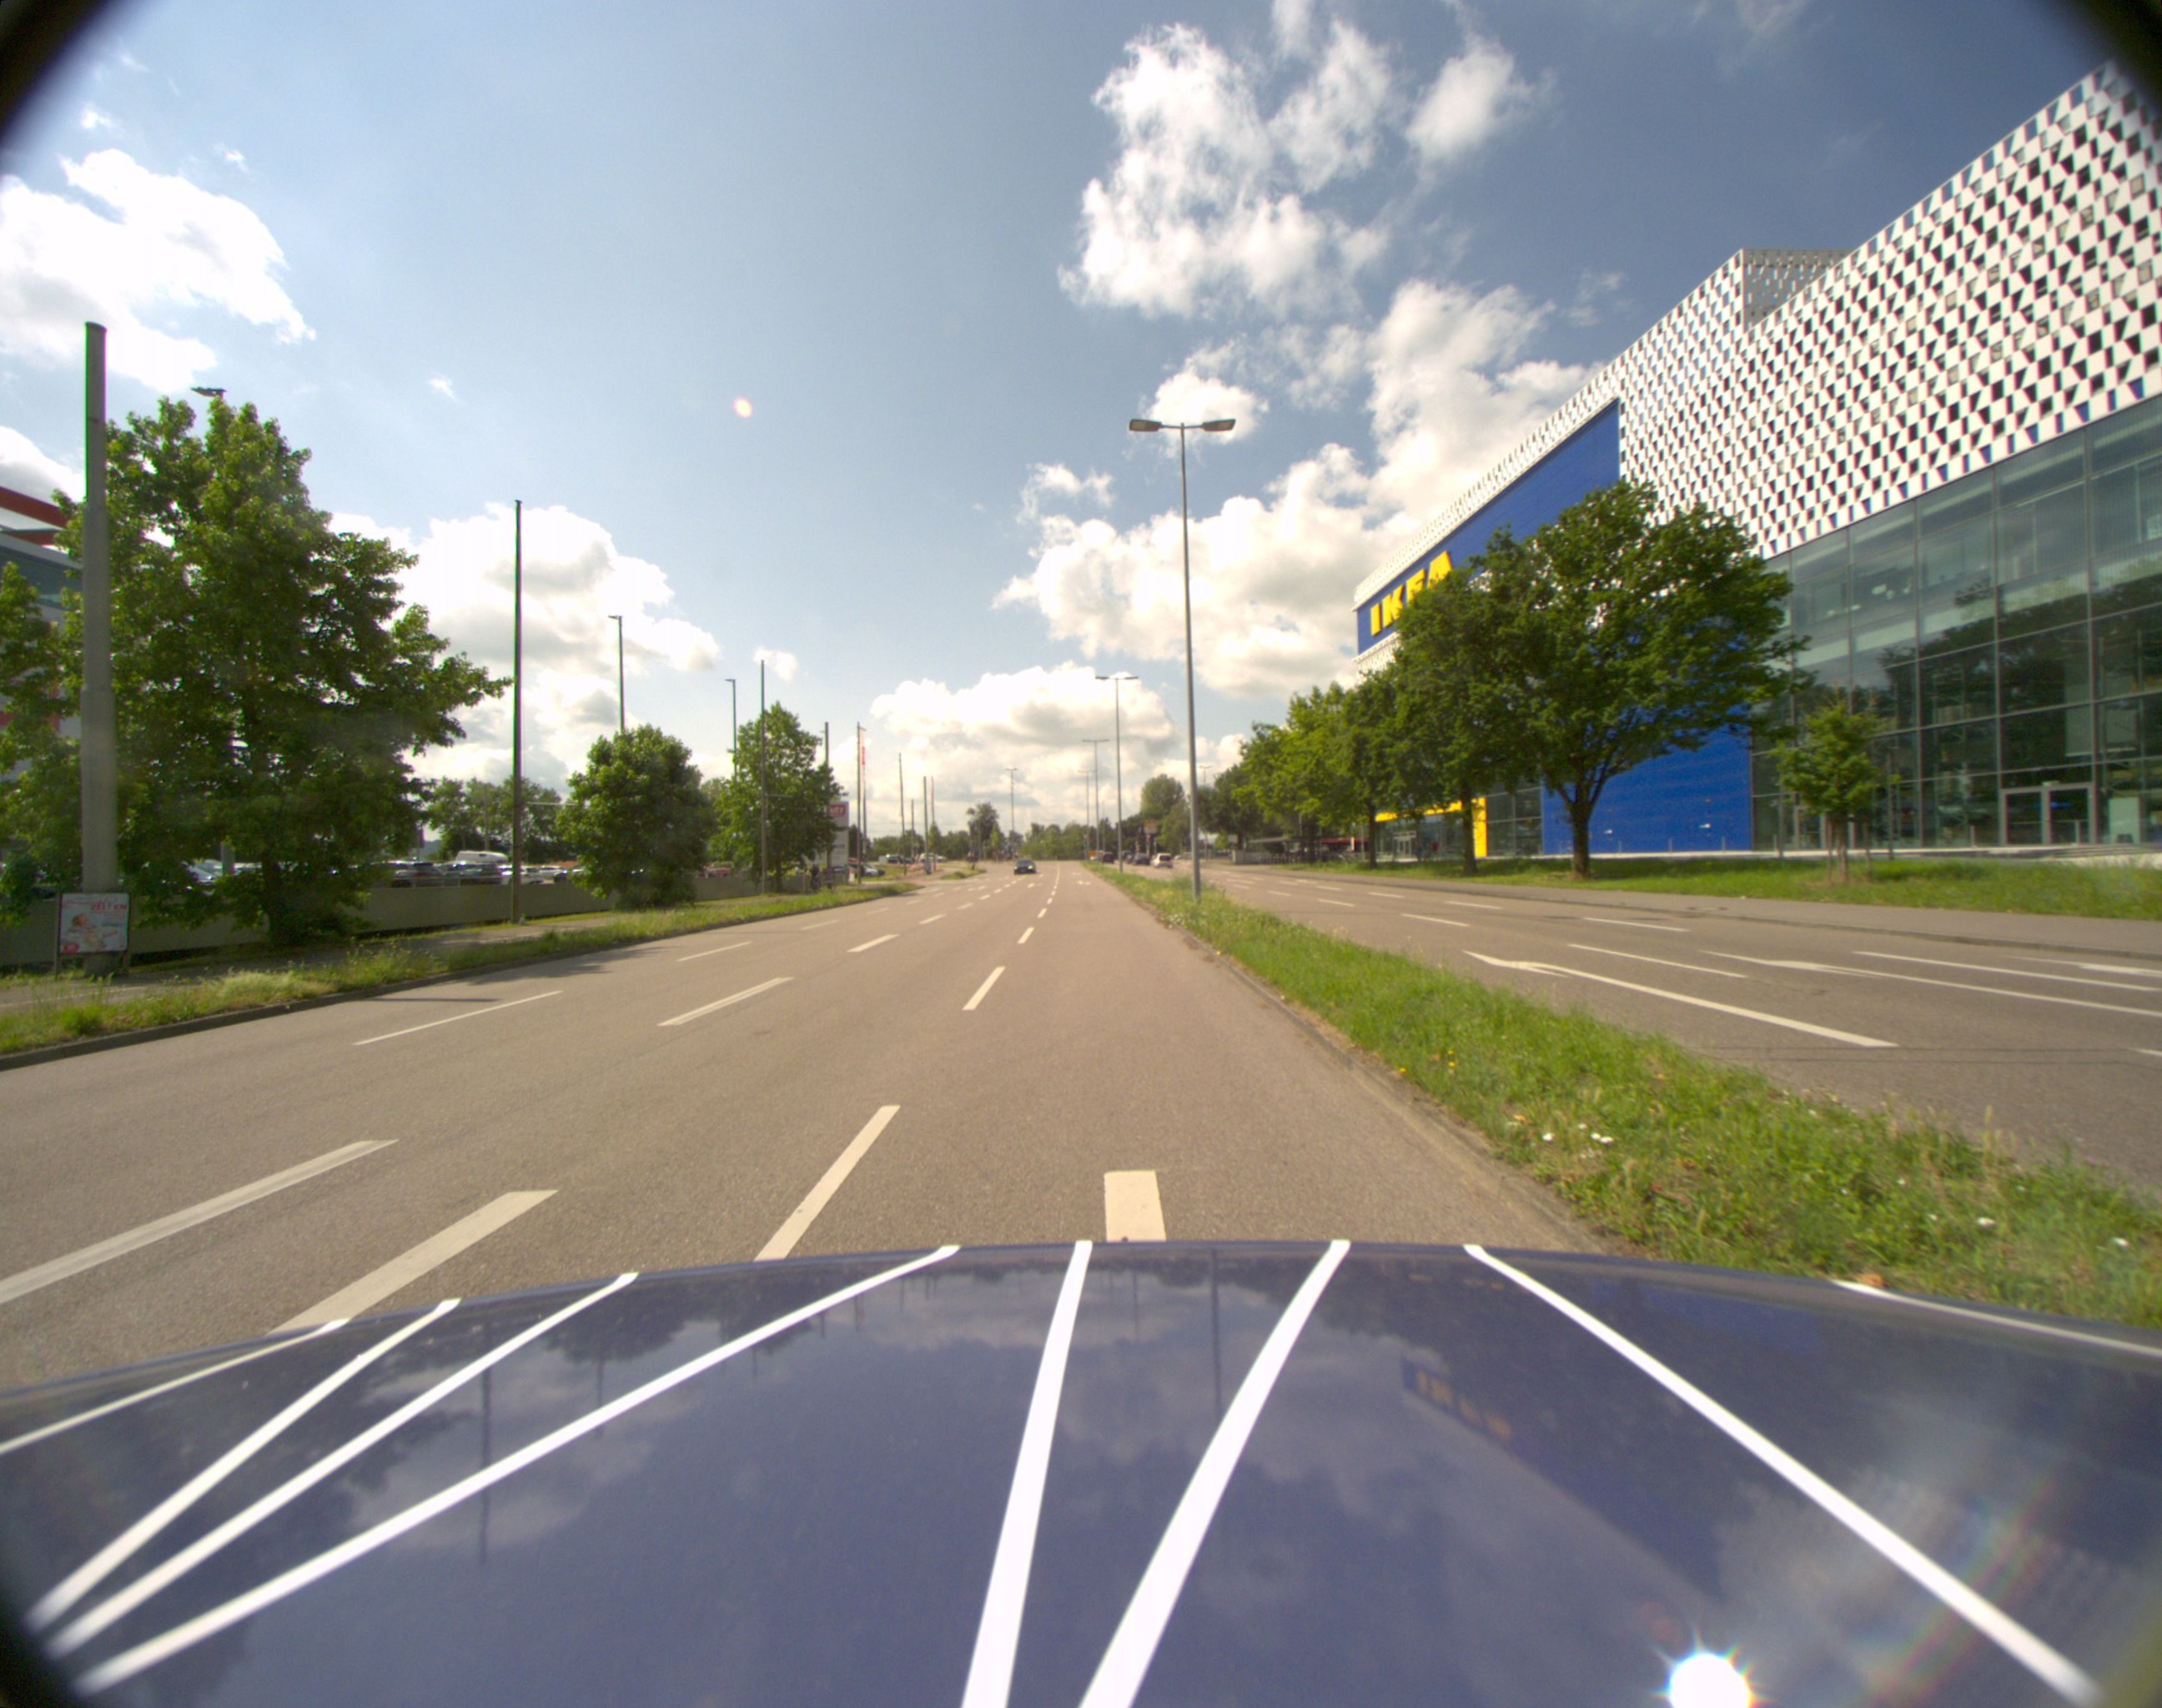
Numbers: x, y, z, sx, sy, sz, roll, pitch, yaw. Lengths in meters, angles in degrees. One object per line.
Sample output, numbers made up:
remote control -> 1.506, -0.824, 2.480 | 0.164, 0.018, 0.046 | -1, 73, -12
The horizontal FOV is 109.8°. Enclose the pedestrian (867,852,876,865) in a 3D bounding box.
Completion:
pedestrian -> -28.915, 0.589, 104.650 | 0.820, 1.792, 0.761 | -1, 1, 26

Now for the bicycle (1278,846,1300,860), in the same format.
bicycle -> 19.745, -0.061, 72.176 | 1.930, 1.265, 0.629 | -2, 0, -1

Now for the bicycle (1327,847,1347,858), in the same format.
bicycle -> 27.546, -0.192, 81.729 | 1.935, 1.083, 0.520 | -2, 0, -5

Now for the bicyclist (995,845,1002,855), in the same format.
bicyclist -> -12.351, -0.626, 113.973 | 0.698, 1.526, 0.619 | -2, 0, -38

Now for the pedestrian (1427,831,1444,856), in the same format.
pedestrian -> 26.229, -0.759, 56.276 | 0.755, 1.812, 0.887 | -2, 1, -1

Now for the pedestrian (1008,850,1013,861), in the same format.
pedestrian -> -10.338, 0.238, 112.123 | 0.585, 1.515, 0.469 | -2, 1, 8

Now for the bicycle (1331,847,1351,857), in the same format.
bicycle -> 27.598, -0.194, 80.520 | 1.940, 1.064, 0.528 | -2, 1, -5

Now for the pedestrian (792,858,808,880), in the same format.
pedestrian -> -23.171, 1.261, 62.627 | 0.782, 1.772, 0.874 | -2, 0, 45

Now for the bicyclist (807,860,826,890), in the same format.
bicyclist -> -12.634, 0.992, 36.269 | 0.617, 1.404, 0.715 | -1, 0, 0

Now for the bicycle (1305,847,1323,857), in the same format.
bicycle -> 26.817, -0.242, 87.531 | 1.940, 1.064, 0.528 | -2, 1, -7

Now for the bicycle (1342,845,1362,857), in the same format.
bicycle -> 28.167, -0.302, 79.032 | 1.940, 1.202, 0.528 | -2, 1, -5

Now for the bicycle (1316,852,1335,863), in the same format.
bicycle -> 27.161, 0.385, 84.440 | 1.940, 1.064, 0.528 | -2, 1, -5

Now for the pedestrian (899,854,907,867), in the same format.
pedestrian -> -24.369, 0.867, 104.280 | 0.865, 1.754, 0.863 | 2, -3, -5

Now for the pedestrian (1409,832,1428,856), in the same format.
pedestrian -> 24.871, -0.732, 55.934 | 0.952, 1.693, 0.887 | -2, 1, -1

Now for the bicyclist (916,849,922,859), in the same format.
bicyclist -> -22.852, -0.016, 107.138 | 0.688, 1.318, 0.592 | -2, 0, -18

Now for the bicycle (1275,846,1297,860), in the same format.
bicycle -> 19.784, -0.052, 73.249 | 1.930, 1.265, 0.629 | -2, 0, -1

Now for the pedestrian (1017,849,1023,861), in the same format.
pedestrian -> -8.946, 0.116, 111.412 | 0.688, 1.718, 0.701 | -1, 2, 10

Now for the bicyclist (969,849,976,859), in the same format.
bicyclist -> -15.976, 0.057, 111.663 | 0.649, 1.466, 0.744 | -2, 0, 42

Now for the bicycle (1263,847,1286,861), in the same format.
bicycle -> 19.578, -0.007, 76.898 | 2.094, 1.265, 0.629 | -2, 0, -1

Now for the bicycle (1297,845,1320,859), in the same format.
bicycle -> 21.937, -0.155, 73.317 | 1.930, 1.265, 0.629 | -2, 0, -1

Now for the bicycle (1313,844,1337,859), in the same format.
bicycle -> 21.973, -0.182, 68.429 | 1.930, 1.265, 0.629 | -2, 0, -1

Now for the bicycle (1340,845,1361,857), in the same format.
bicycle -> 27.776, -0.301, 78.227 | 1.950, 1.236, 0.597 | -2, 1, -5

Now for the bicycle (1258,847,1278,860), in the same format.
bicycle -> 19.505, -0.012, 79.260 | 1.930, 1.265, 0.629 | -2, 0, -1

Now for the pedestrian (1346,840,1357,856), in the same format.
pedestrian -> 29.199, -0.652, 82.081 | 0.898, 1.697, 0.710 | -2, 1, -2

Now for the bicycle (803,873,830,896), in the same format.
bicycle -> -12.627, 1.439, 36.312 | 0.625, 1.061, 1.967 | -1, 0, -1

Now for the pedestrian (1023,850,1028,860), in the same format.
pedestrian -> -8.315, 0.158, 113.401 | 0.556, 1.515, 0.470 | -2, 0, 8

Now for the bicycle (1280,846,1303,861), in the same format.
bicycle -> 19.618, -0.049, 70.781 | 1.930, 1.265, 0.629 | -2, 0, -1

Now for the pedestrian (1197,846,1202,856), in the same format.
pedestrian -> 17.392, -0.425, 111.841 | 0.439, 1.482, 0.619 | -2, 1, -18

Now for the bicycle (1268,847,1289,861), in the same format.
bicycle -> 19.674, -0.003, 75.619 | 1.930, 1.265, 0.629 | -2, 0, -1

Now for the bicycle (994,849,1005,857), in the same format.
bicycle -> -12.291, -0.219, 114.009 | 1.507, 1.158, 0.619 | -2, 0, -38

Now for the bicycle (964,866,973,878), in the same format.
bicycle -> -10.104, 1.608, 68.292 | 0.518, 0.947, 1.543 | -2, 1, -1
